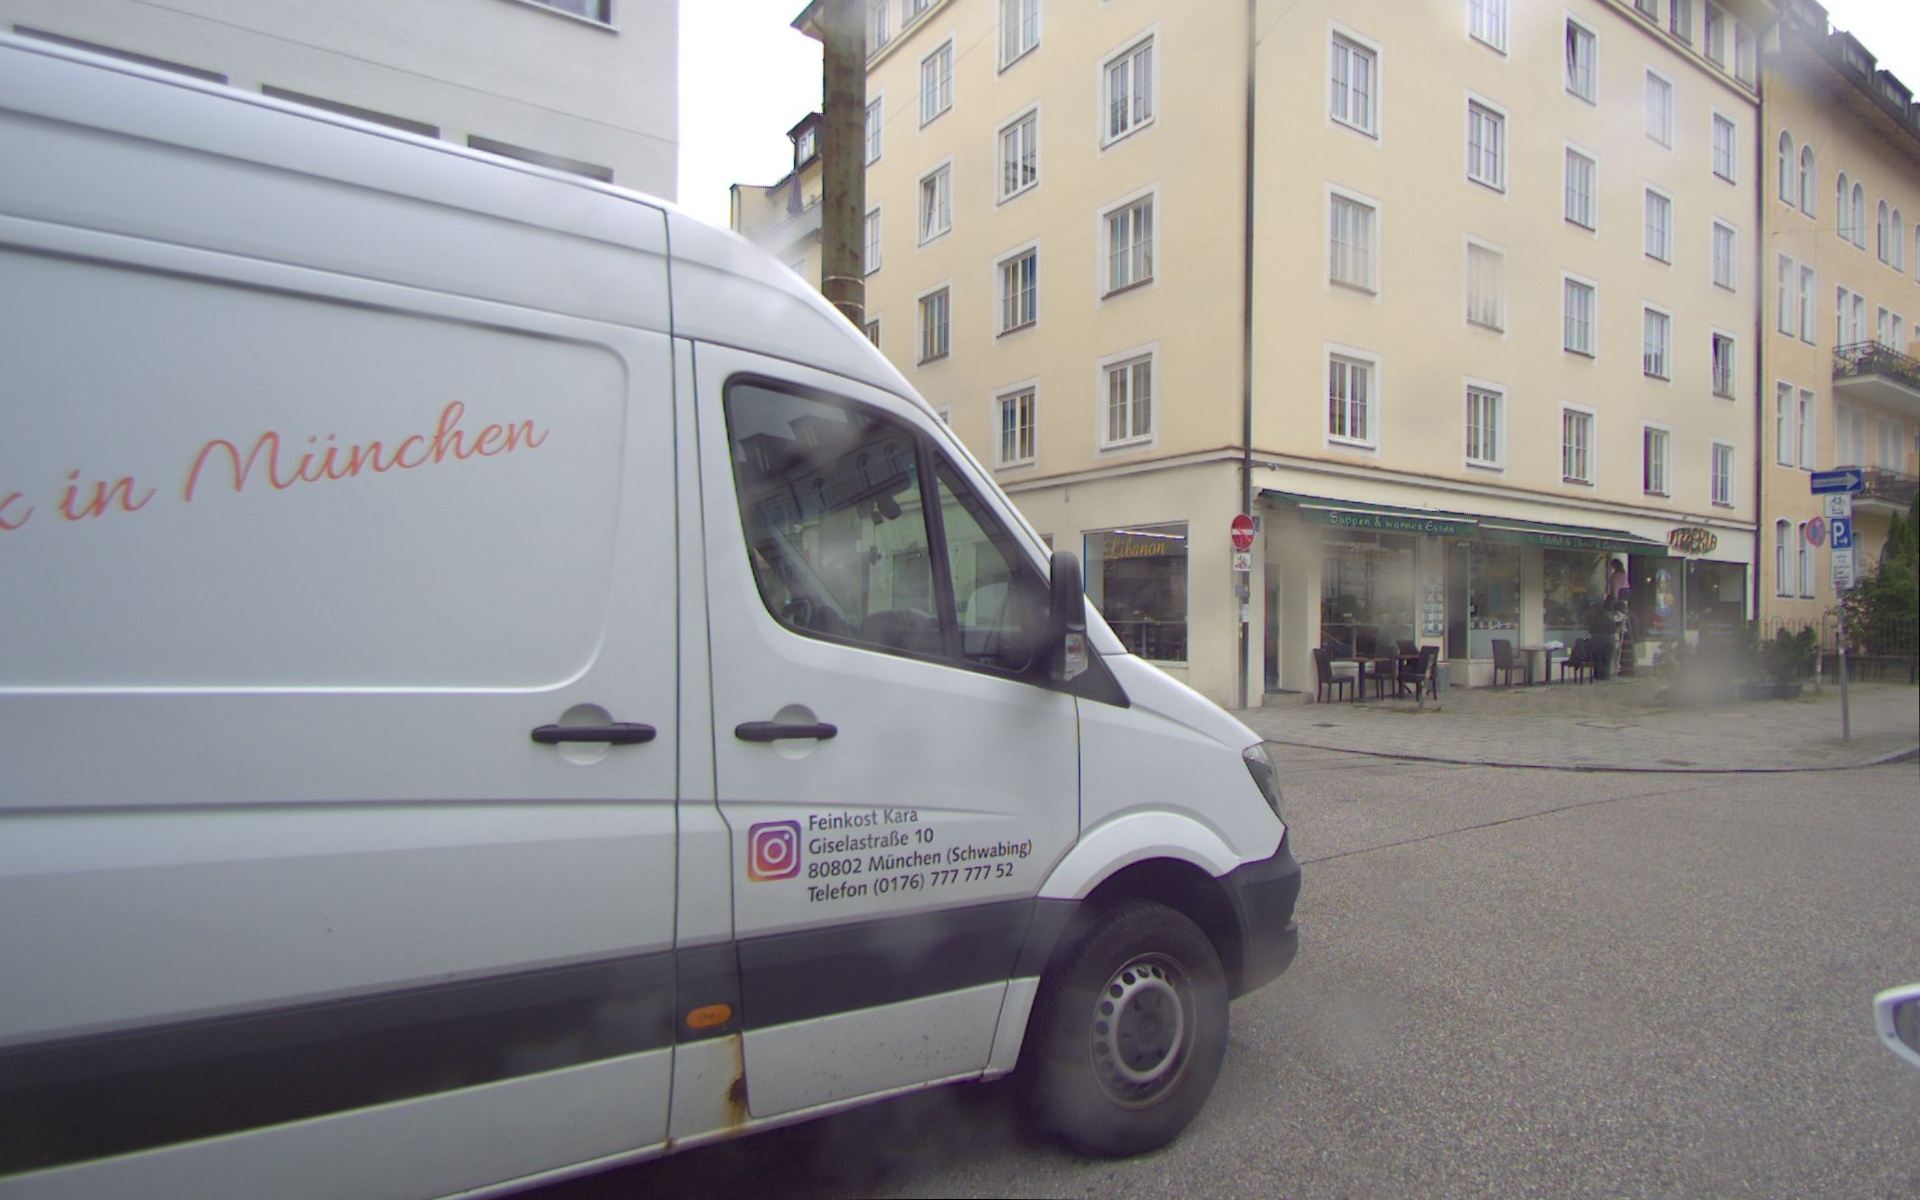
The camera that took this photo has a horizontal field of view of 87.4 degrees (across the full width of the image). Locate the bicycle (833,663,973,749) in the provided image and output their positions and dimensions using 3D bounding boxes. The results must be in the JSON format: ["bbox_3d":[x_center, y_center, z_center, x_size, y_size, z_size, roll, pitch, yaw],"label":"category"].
[{"bbox_3d":[-0.696,1.314,12.766,1.878,0.981,0.394,2,-1,-38],"label":"bicycle"}]

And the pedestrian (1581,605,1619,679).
[{"bbox_3d":[14.553,0.949,22.829,0.623,1.664,0.519,1,-1,-33],"label":"pedestrian"}]

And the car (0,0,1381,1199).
[{"bbox_3d":[-1.553,0.193,2.785,5.726,2.607,1.968,1,-3,-31],"label":"car"}]

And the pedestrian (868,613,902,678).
[{"bbox_3d":[-1.858,1.126,24.905,0.632,1.582,0.604,1,-1,-28],"label":"pedestrian"}]

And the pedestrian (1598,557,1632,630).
[{"bbox_3d":[15.188,-0.154,23.281,0.491,1.664,0.475,1,-1,-28],"label":"pedestrian"}]

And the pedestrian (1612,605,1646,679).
[{"bbox_3d":[15.757,0.984,23.662,0.568,1.712,0.459,1,-1,-32],"label":"pedestrian"}]
